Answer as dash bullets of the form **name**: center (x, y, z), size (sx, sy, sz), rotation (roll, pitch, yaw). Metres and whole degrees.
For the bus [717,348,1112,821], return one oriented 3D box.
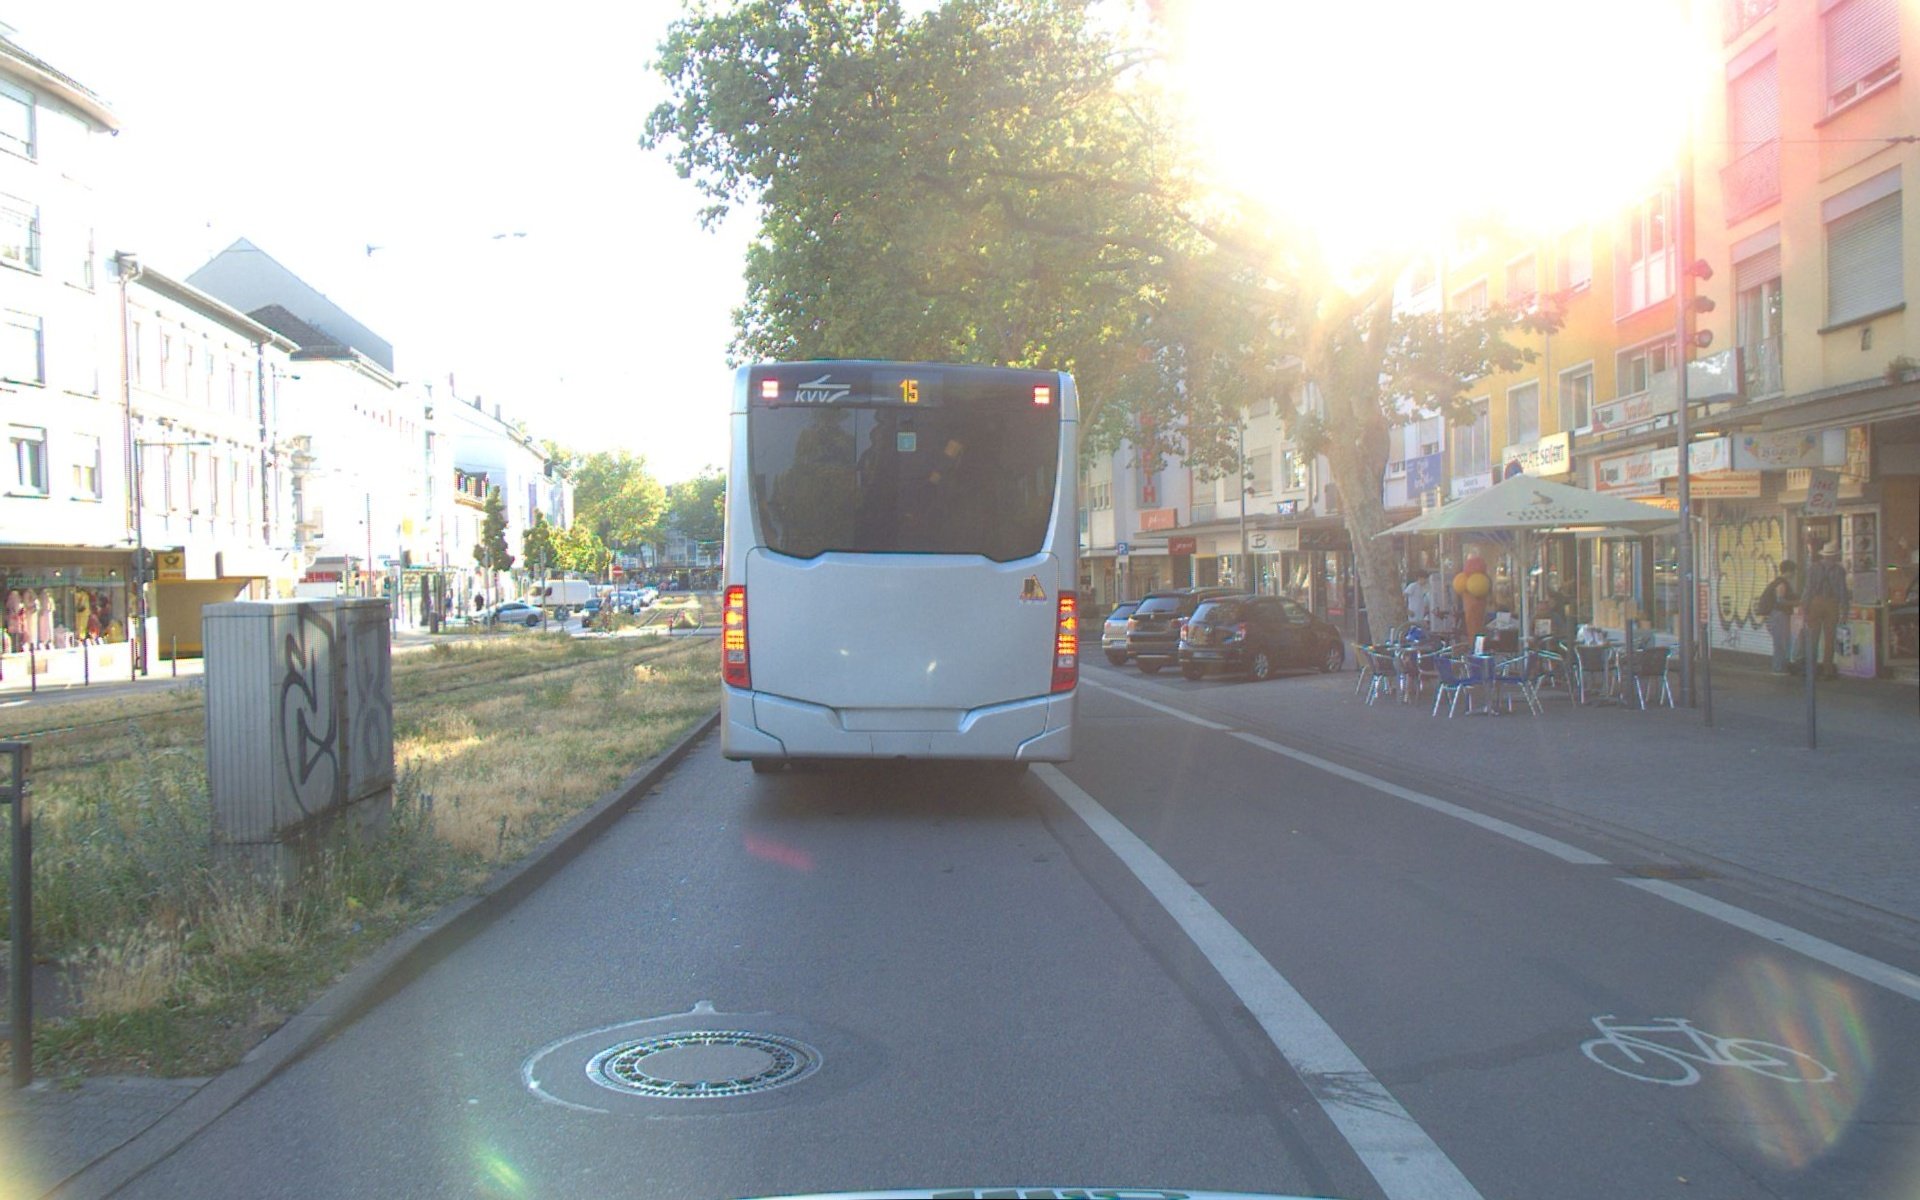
- **bus**: center (-0.375, -0.126, 14.571), size (2.624, 3.137, 7.112), rotation (0, 0, -1)

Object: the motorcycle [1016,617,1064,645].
- **motorcycle**: center (2.675, 1.033, 55.500), size (1.540, 0.908, 0.544), rotation (-1, 0, -7)

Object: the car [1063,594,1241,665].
- **car**: center (4.472, 0.651, 38.164), size (4.142, 1.477, 1.782), rotation (-1, 0, -42)

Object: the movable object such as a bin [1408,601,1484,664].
- **movable object such as a bin**: center (8.262, 0.552, 28.137), size (0.915, 1.041, 0.833), rotation (1, 0, -26)

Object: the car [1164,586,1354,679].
- **car**: center (5.587, 0.569, 30.693), size (3.582, 1.567, 1.713), rotation (-1, 0, -45)

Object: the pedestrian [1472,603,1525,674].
- **pedestrian**: center (8.783, 0.621, 26.985), size (0.571, 1.135, 0.750), rotation (1, 0, -3)

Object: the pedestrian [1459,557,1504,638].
- **pedestrian**: center (12.176, -0.065, 38.629), size (0.692, 1.822, 0.788), rotation (-4, 0, 2)

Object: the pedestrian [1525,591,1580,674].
- **pedestrian**: center (9.410, 0.504, 26.288), size (0.571, 1.297, 0.758), rotation (1, 0, -3)

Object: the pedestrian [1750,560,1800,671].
- **pedestrian**: center (11.791, 0.223, 23.939), size (0.612, 1.573, 0.637), rotation (-1, 0, 27)

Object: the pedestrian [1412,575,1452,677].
- **pedestrian**: center (8.761, 0.470, 30.691), size (0.509, 1.864, 0.471), rotation (-1, 0, -26)

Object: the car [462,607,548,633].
- **car**: center (-26.889, 1.162, 97.788), size (4.510, 1.437, 1.971), rotation (-1, 0, -41)

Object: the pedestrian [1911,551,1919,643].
- **pedestrian**: center (13.883, -0.048, 23.502), size (0.417, 1.319, 0.508), rotation (-1, 0, 0)

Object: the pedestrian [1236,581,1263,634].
- **pedestrian**: center (10.206, 0.268, 58.379), size (0.765, 1.825, 0.763), rotation (-1, 0, -4)

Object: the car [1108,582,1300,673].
- **car**: center (5.049, 0.518, 33.907), size (4.121, 1.710, 1.780), rotation (-1, 0, -45)

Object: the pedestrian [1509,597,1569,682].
- **pedestrian**: center (8.610, 0.576, 24.618), size (0.594, 1.246, 0.744), rotation (-1, 0, -3)

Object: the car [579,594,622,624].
- **car**: center (-19.793, 0.483, 91.163), size (1.688, 1.535, 3.474), rotation (-4, 0, -3)

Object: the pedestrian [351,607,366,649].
- **pedestrian**: center (-25.403, 1.194, 69.883), size (0.417, 1.743, 0.508), rotation (-1, 0, 0)

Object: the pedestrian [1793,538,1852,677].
- **pedestrian**: center (11.642, 0.098, 22.318), size (0.624, 1.835, 0.625), rotation (-1, 0, 32)
